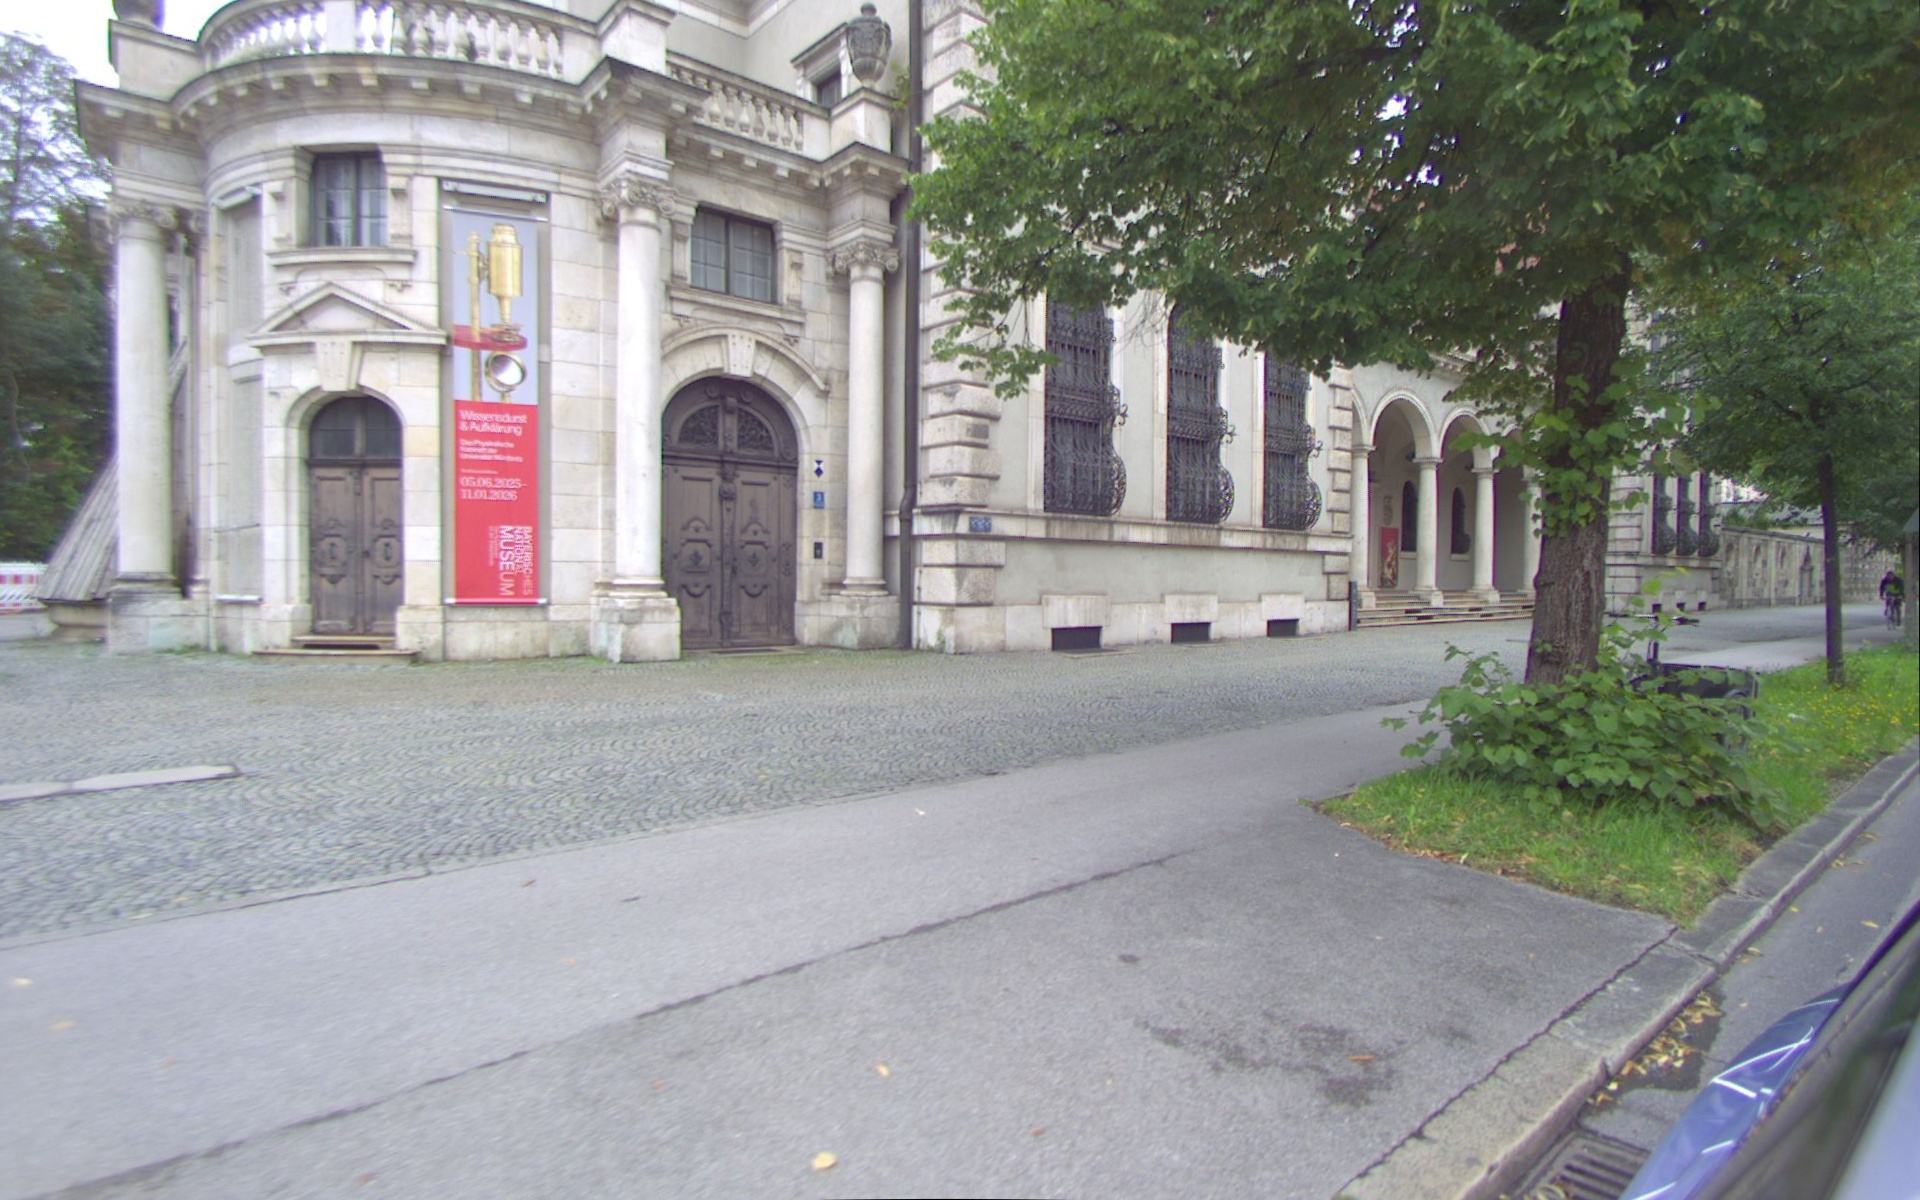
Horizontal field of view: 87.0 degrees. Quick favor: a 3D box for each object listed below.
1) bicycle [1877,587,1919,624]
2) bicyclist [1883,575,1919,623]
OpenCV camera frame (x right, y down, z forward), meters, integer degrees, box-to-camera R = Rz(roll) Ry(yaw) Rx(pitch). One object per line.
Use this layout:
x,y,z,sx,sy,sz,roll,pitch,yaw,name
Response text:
26.978,0.146,28.954,2.021,1.019,0.830,-1,0,-40,bicycle
27.068,-0.038,28.989,0.878,1.329,0.807,0,0,-40,bicyclist
